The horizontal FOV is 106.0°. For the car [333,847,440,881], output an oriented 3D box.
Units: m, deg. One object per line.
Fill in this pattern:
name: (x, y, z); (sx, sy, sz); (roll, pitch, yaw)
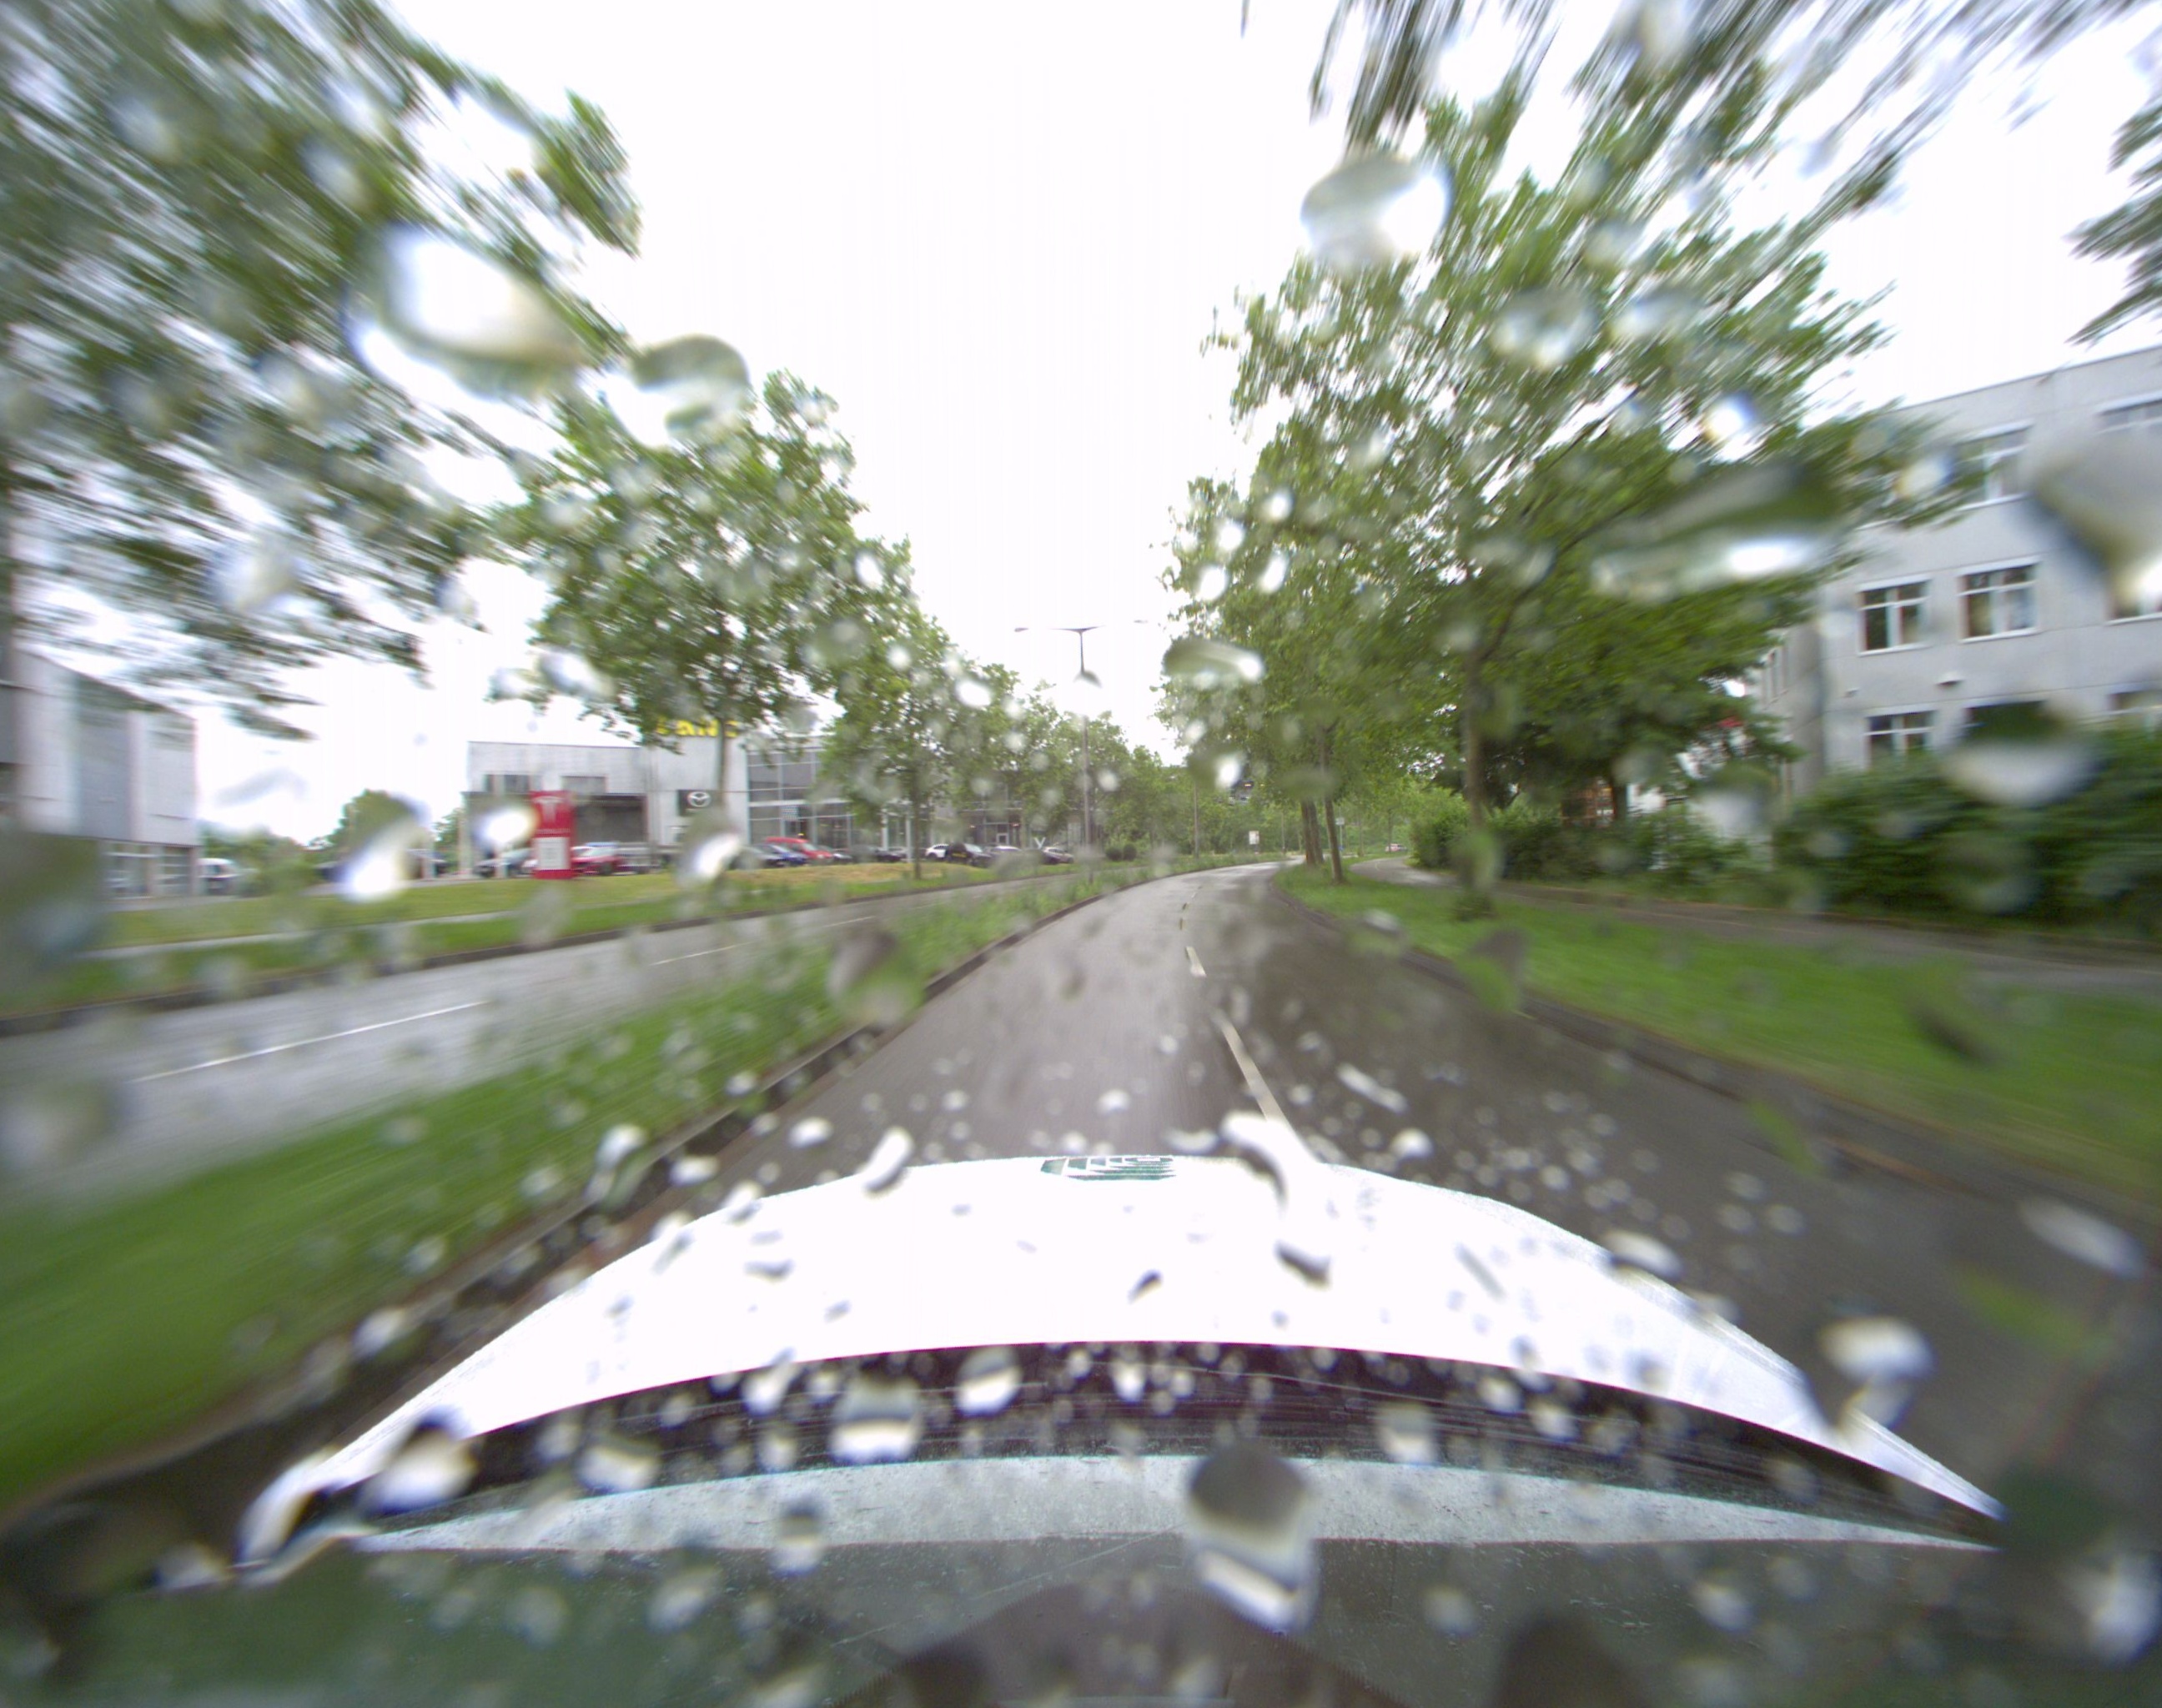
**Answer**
car: (-38.747, 0.496, 45.568); (1.746, 1.728, 4.183); (1, 2, 30)

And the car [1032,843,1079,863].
car: (-2.414, -0.076, 77.797); (4.013, 1.475, 1.768); (4, 3, -32)

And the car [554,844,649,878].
car: (-22.837, 0.293, 38.967); (1.754, 1.467, 4.165); (0, 2, 6)

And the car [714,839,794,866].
car: (-17.399, -0.093, 43.384); (3.499, 1.326, 1.774); (2, 2, 12)

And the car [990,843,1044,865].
car: (-5.486, -0.003, 70.017); (4.138, 1.478, 1.832); (4, 3, -27)

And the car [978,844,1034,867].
car: (-6.198, 0.124, 67.144); (4.129, 1.478, 1.836); (5, 3, -20)

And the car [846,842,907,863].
car: (-14.549, -0.129, 58.168); (3.991, 1.357, 1.844); (1, 2, -6)

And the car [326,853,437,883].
car: (-36.886, 0.686, 43.034); (1.746, 1.396, 4.183); (1, 2, 40)

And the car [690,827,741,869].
car: (-25.357, -0.430, 56.431); (2.181, 2.752, 5.280); (0, 1, -36)

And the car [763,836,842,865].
car: (-16.468, -0.240, 48.258); (3.969, 1.556, 1.854); (2, 2, 12)

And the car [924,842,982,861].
car: (-10.751, -0.233, 68.387); (4.395, 1.473, 1.925); (-1, 0, 9)

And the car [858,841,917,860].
car: (-16.281, -0.279, 68.721); (4.403, 1.473, 1.921); (-1, 0, 3)

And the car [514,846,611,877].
car: (-25.423, 0.326, 40.121); (1.754, 1.396, 4.165); (0, 2, 6)

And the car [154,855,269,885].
car: (-57.269, 1.016, 53.744); (4.720, 1.728, 1.969); (-1, 2, -26)

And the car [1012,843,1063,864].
car: (-3.905, -0.029, 73.731); (4.134, 1.422, 1.834); (5, 3, -24)

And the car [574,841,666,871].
car: (-27.994, 0.083, 49.525); (4.677, 1.764, 1.800); (0, 1, -39)

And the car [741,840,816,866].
car: (-16.914, -0.058, 45.635); (3.499, 1.326, 1.774); (2, 2, 12)

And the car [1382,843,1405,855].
car: (44.334, -0.738, 115.521); (1.762, 1.555, 4.025); (0, 2, 41)

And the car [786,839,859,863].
car: (-16.218, -0.236, 51.165); (3.969, 1.357, 1.854); (2, 2, 12)

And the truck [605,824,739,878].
truck: (-19.376, -0.237, 39.054); (2.231, 2.344, 6.217); (2, 2, 13)

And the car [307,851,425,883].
car: (-35.634, 0.611, 40.667); (1.746, 1.396, 4.183); (1, 2, 40)

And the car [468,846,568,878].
car: (-27.758, 0.351, 40.351); (1.754, 1.396, 4.165); (0, 2, 6)

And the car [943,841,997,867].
car: (-8.693, -0.023, 63.508); (1.858, 1.556, 4.385); (3, 4, -44)
